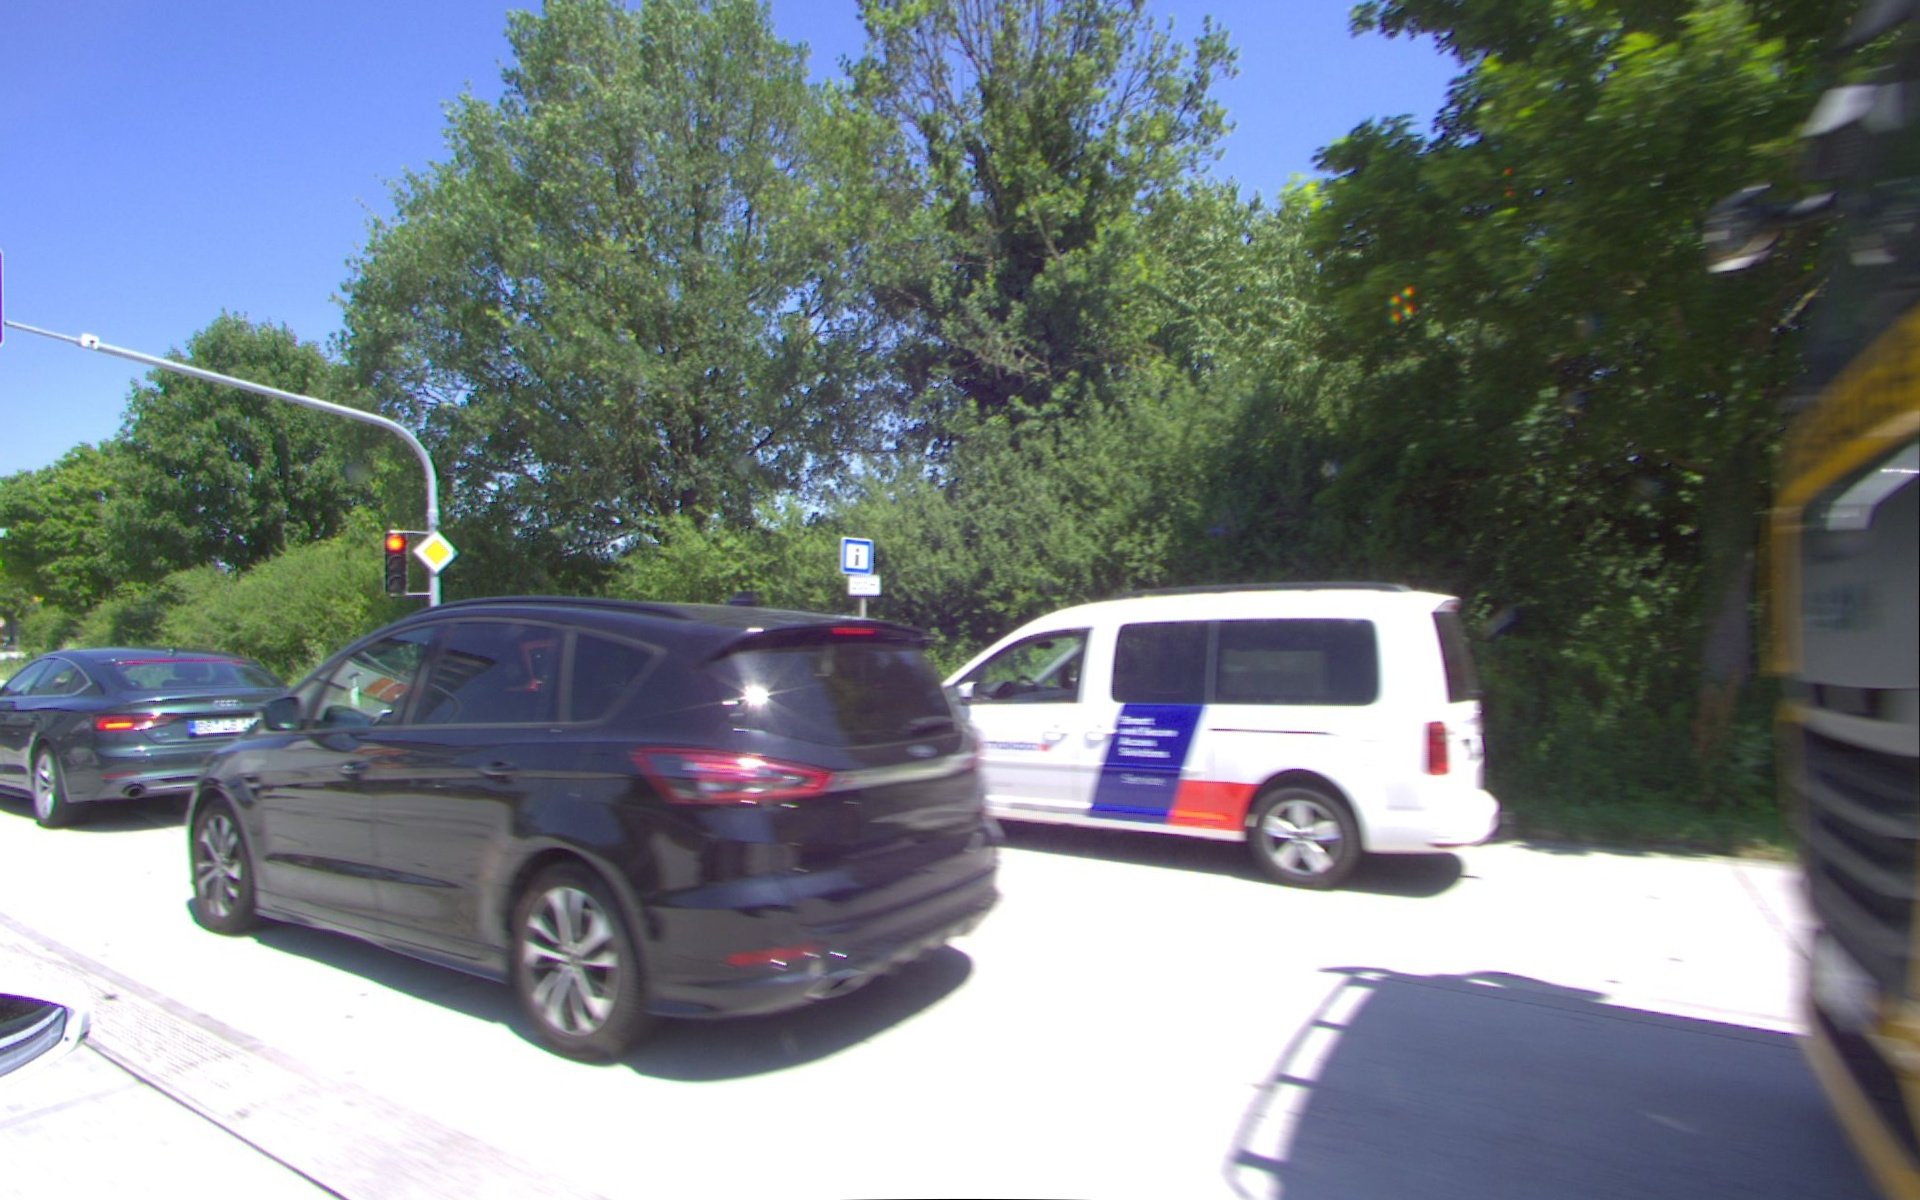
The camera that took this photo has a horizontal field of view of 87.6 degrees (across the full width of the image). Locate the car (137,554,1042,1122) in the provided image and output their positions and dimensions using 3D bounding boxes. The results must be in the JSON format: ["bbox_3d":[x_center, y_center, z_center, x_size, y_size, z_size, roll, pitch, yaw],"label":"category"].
[{"bbox_3d":[-2.038,0.778,4.932,4.581,1.660,1.781,-2,-2,32],"label":"car"}]

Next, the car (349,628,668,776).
[{"bbox_3d":[-5.439,1.120,12.021,3.598,1.528,1.765,-1,-2,31],"label":"car"}]

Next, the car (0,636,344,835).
[{"bbox_3d":[-7.700,1.062,9.241,4.548,1.428,1.763,-2,-2,35],"label":"car"}]

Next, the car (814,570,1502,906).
[{"bbox_3d":[1.312,0.836,7.458,4.723,1.830,1.765,-2,-2,31],"label":"car"}]

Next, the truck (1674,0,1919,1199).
[{"bbox_3d":[5.150,-0.436,0.605,7.359,3.820,3.010,-1,-2,30],"label":"truck"}]
